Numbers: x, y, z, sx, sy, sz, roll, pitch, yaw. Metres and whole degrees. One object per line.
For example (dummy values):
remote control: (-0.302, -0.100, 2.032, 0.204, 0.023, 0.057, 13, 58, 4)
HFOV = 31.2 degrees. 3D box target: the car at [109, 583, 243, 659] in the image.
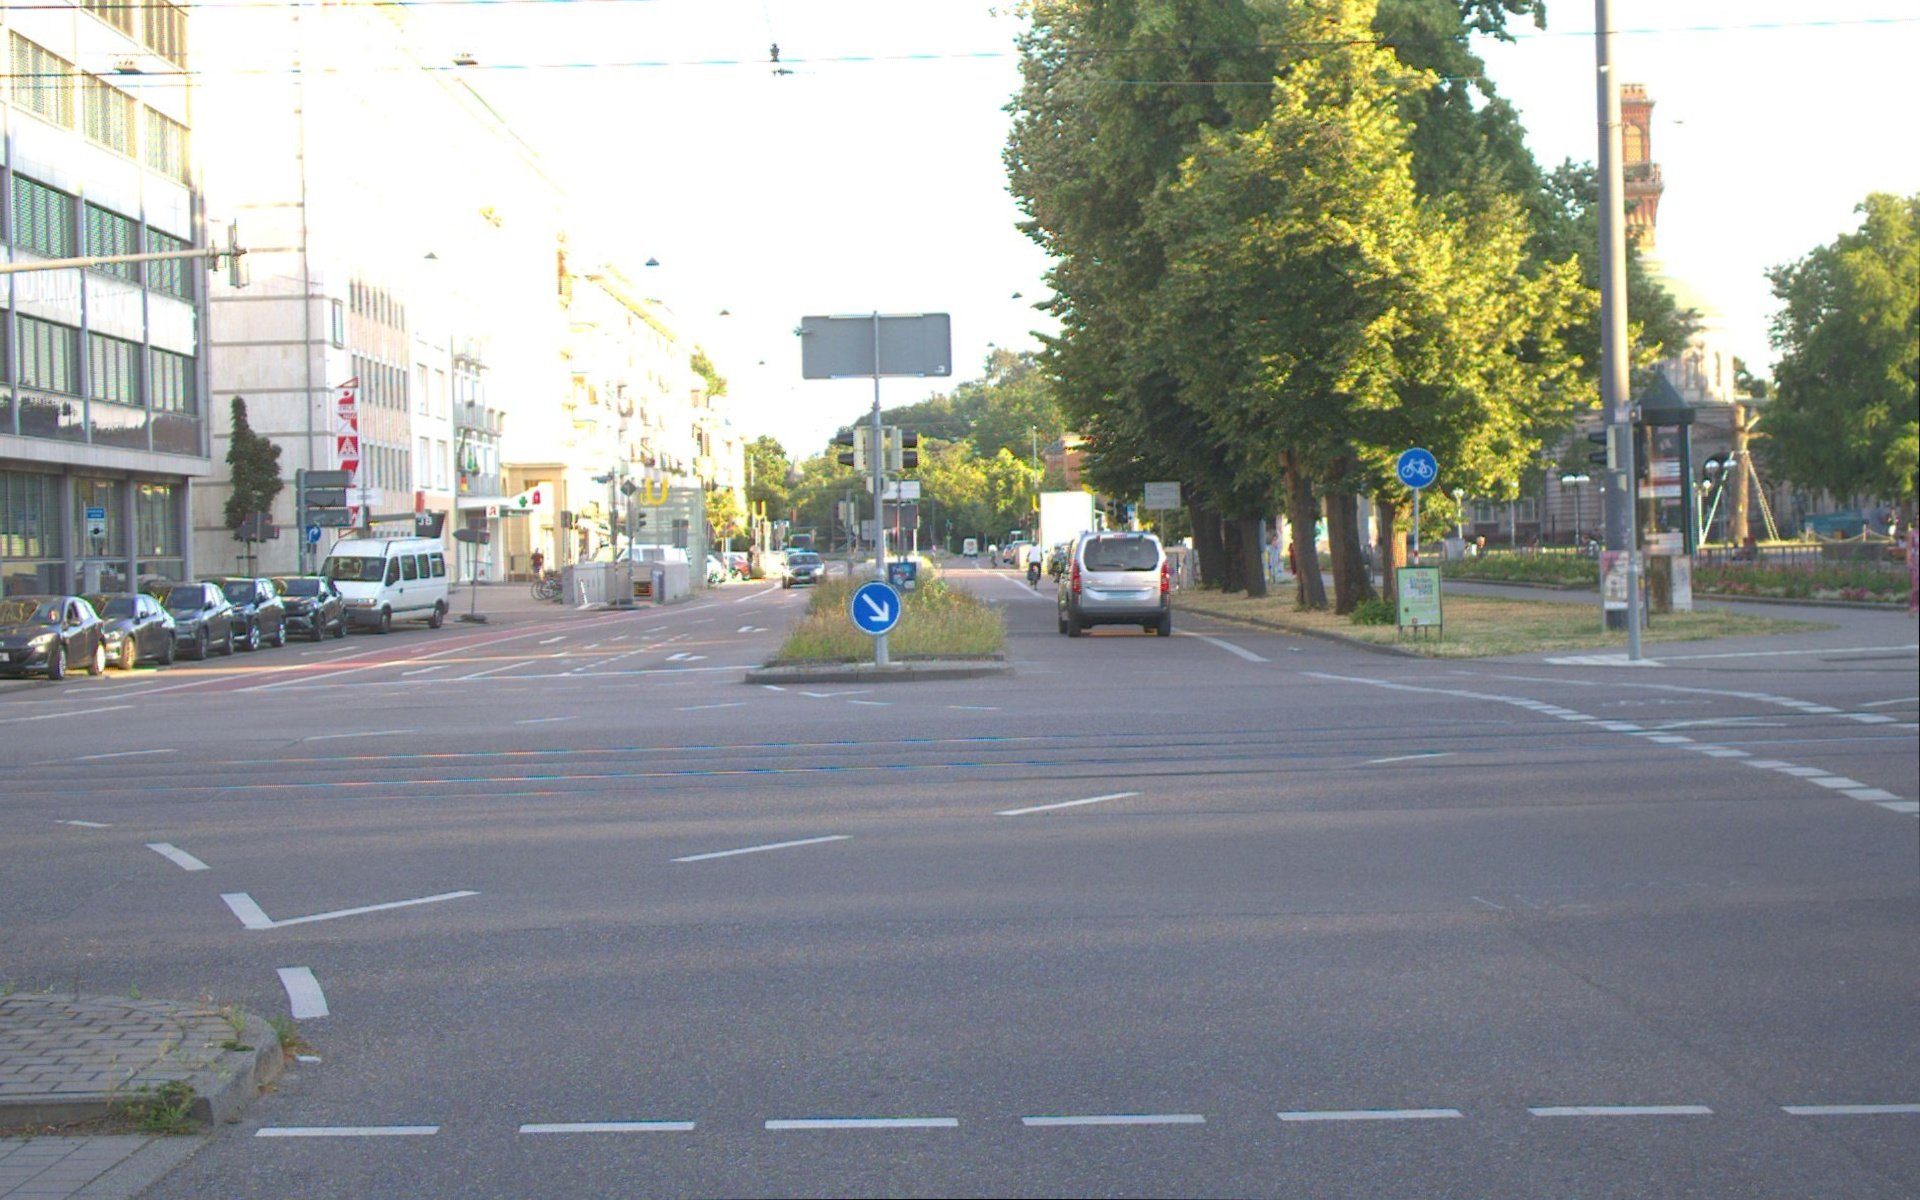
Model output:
car: (-16.556, 0.423, 72.752, 1.920, 1.459, 4.000, -2, 1, -1)

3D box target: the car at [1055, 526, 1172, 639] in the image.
car: (2.685, -0.339, 61.125, 1.763, 1.882, 4.500, -2, 1, -1)

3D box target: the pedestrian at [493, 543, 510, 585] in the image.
pedestrian: (-21.926, -1.726, 164.362, 0.680, 2.007, 0.545, -2, 1, 0)

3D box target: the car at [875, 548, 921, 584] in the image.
car: (-2.663, -1.481, 148.679, 1.863, 1.514, 4.000, -2, 1, 0)

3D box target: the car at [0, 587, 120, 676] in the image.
car: (-16.463, 0.552, 61.389, 1.920, 1.459, 4.103, -2, 1, -1)

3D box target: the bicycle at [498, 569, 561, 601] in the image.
bicycle: (-15.794, -0.567, 126.241, 2.205, 1.108, 0.689, -2, 1, -2)

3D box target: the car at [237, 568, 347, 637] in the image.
car: (-16.337, 0.037, 84.282, 1.920, 1.563, 4.000, -2, 1, -1)

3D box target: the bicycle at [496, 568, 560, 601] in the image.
bicycle: (-15.700, -0.561, 124.952, 2.205, 1.108, 0.619, -2, 1, -2)

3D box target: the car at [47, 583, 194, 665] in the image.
car: (-16.553, 0.450, 67.937, 1.920, 1.459, 4.000, -2, 1, -1)

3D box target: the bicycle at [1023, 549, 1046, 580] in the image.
bicycle: (2.748, -1.319, 127.304, 0.746, 1.140, 2.505, -2, 1, -1)

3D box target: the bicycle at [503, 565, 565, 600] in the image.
bicycle: (-15.913, -0.647, 128.388, 2.205, 1.232, 0.839, -2, 1, -2)

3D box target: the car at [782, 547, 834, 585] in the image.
car: (-6.326, -1.431, 143.363, 1.863, 1.514, 4.000, -2, 1, 2)

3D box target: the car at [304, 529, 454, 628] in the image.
car: (-15.278, -0.606, 90.735, 2.002, 2.469, 5.865, -1, 1, 10)

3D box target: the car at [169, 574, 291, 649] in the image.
car: (-16.535, 0.244, 78.054, 1.920, 1.563, 4.000, -2, 1, -1)

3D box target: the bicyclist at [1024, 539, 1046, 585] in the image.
bicyclist: (2.770, -1.405, 126.898, 0.746, 1.658, 0.873, -2, 1, -1)

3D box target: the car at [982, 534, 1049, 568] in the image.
car: (3.470, -3.081, 215.683, 3.986, 2.007, 2.000, -2, 1, -4)

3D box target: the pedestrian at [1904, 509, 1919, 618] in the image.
pedestrian: (14.753, -0.561, 52.514, 0.460, 1.651, 0.567, -2, 1, -1)
